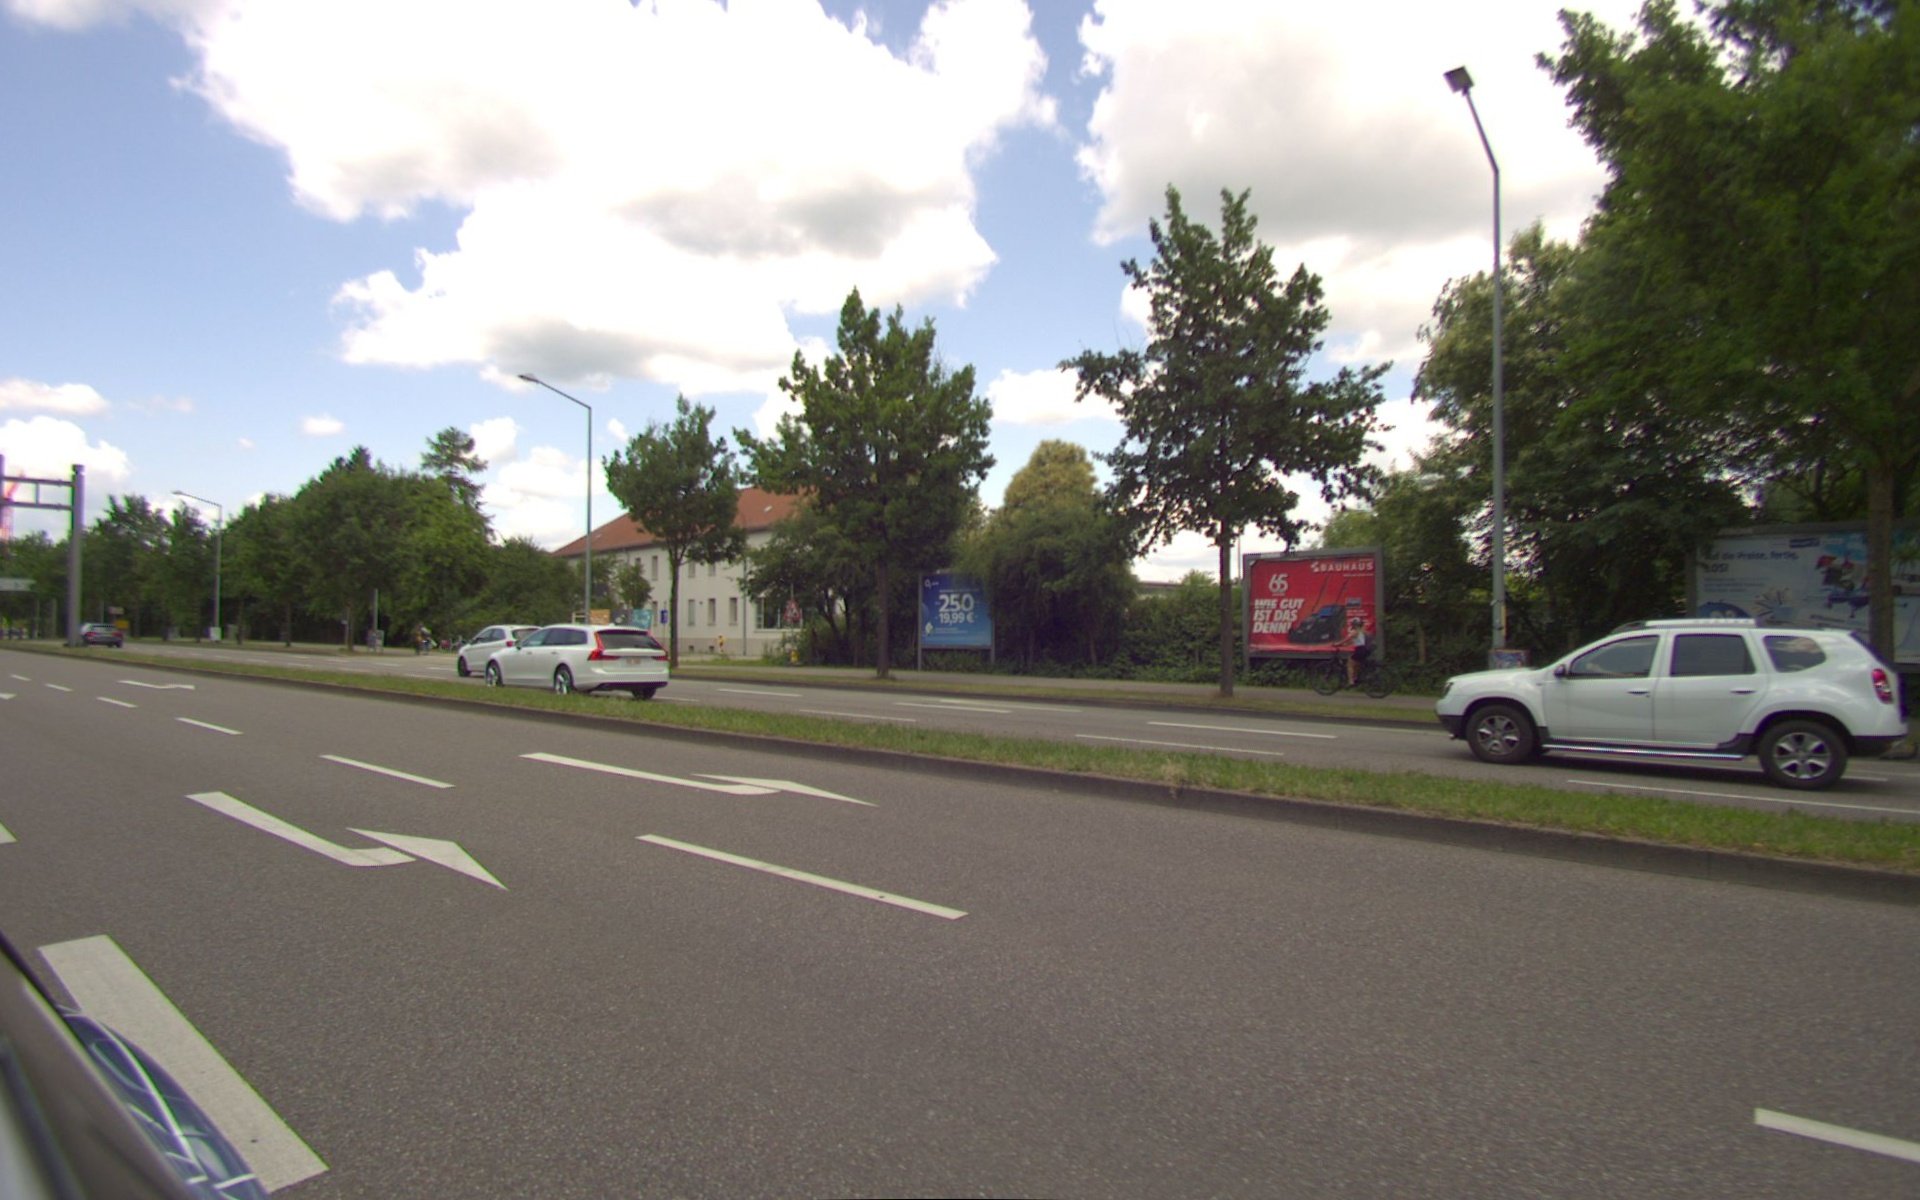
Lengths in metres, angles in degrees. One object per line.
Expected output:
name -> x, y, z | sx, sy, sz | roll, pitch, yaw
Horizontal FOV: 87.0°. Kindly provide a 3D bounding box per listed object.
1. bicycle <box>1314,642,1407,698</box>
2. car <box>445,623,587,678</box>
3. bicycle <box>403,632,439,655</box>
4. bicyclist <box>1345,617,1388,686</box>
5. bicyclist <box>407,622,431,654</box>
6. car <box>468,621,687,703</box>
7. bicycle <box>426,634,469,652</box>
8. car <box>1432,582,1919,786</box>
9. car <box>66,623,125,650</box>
bicycle -> 8.722, 1.504, 22.079 | 0.503, 1.115, 1.846 | 0, 0, -43
car -> -12.656, 1.413, 28.731 | 4.411, 1.454, 1.895 | -1, -4, 40
bicycle -> -28.147, 2.253, 52.809 | 2.254, 1.170, 0.743 | -1, -2, 37
bicyclist -> 8.821, 1.102, 21.975 | 0.488, 1.475, 0.714 | 0, -1, -43
bicyclist -> -28.298, 2.002, 52.939 | 0.979, 1.671, 0.731 | -1, -2, 36
car -> -7.778, 1.159, 20.325 | 5.022, 1.442, 1.973 | -1, -2, 41
bicycle -> -29.712, 2.479, 58.689 | 2.117, 1.023, 0.665 | 1, -2, -4
car -> 7.814, 0.830, 11.097 | 4.409, 1.815, 1.972 | -2, -4, 43
car -> -51.951, 2.171, 60.755 | 4.906, 1.528, 1.939 | -1, -2, 41
